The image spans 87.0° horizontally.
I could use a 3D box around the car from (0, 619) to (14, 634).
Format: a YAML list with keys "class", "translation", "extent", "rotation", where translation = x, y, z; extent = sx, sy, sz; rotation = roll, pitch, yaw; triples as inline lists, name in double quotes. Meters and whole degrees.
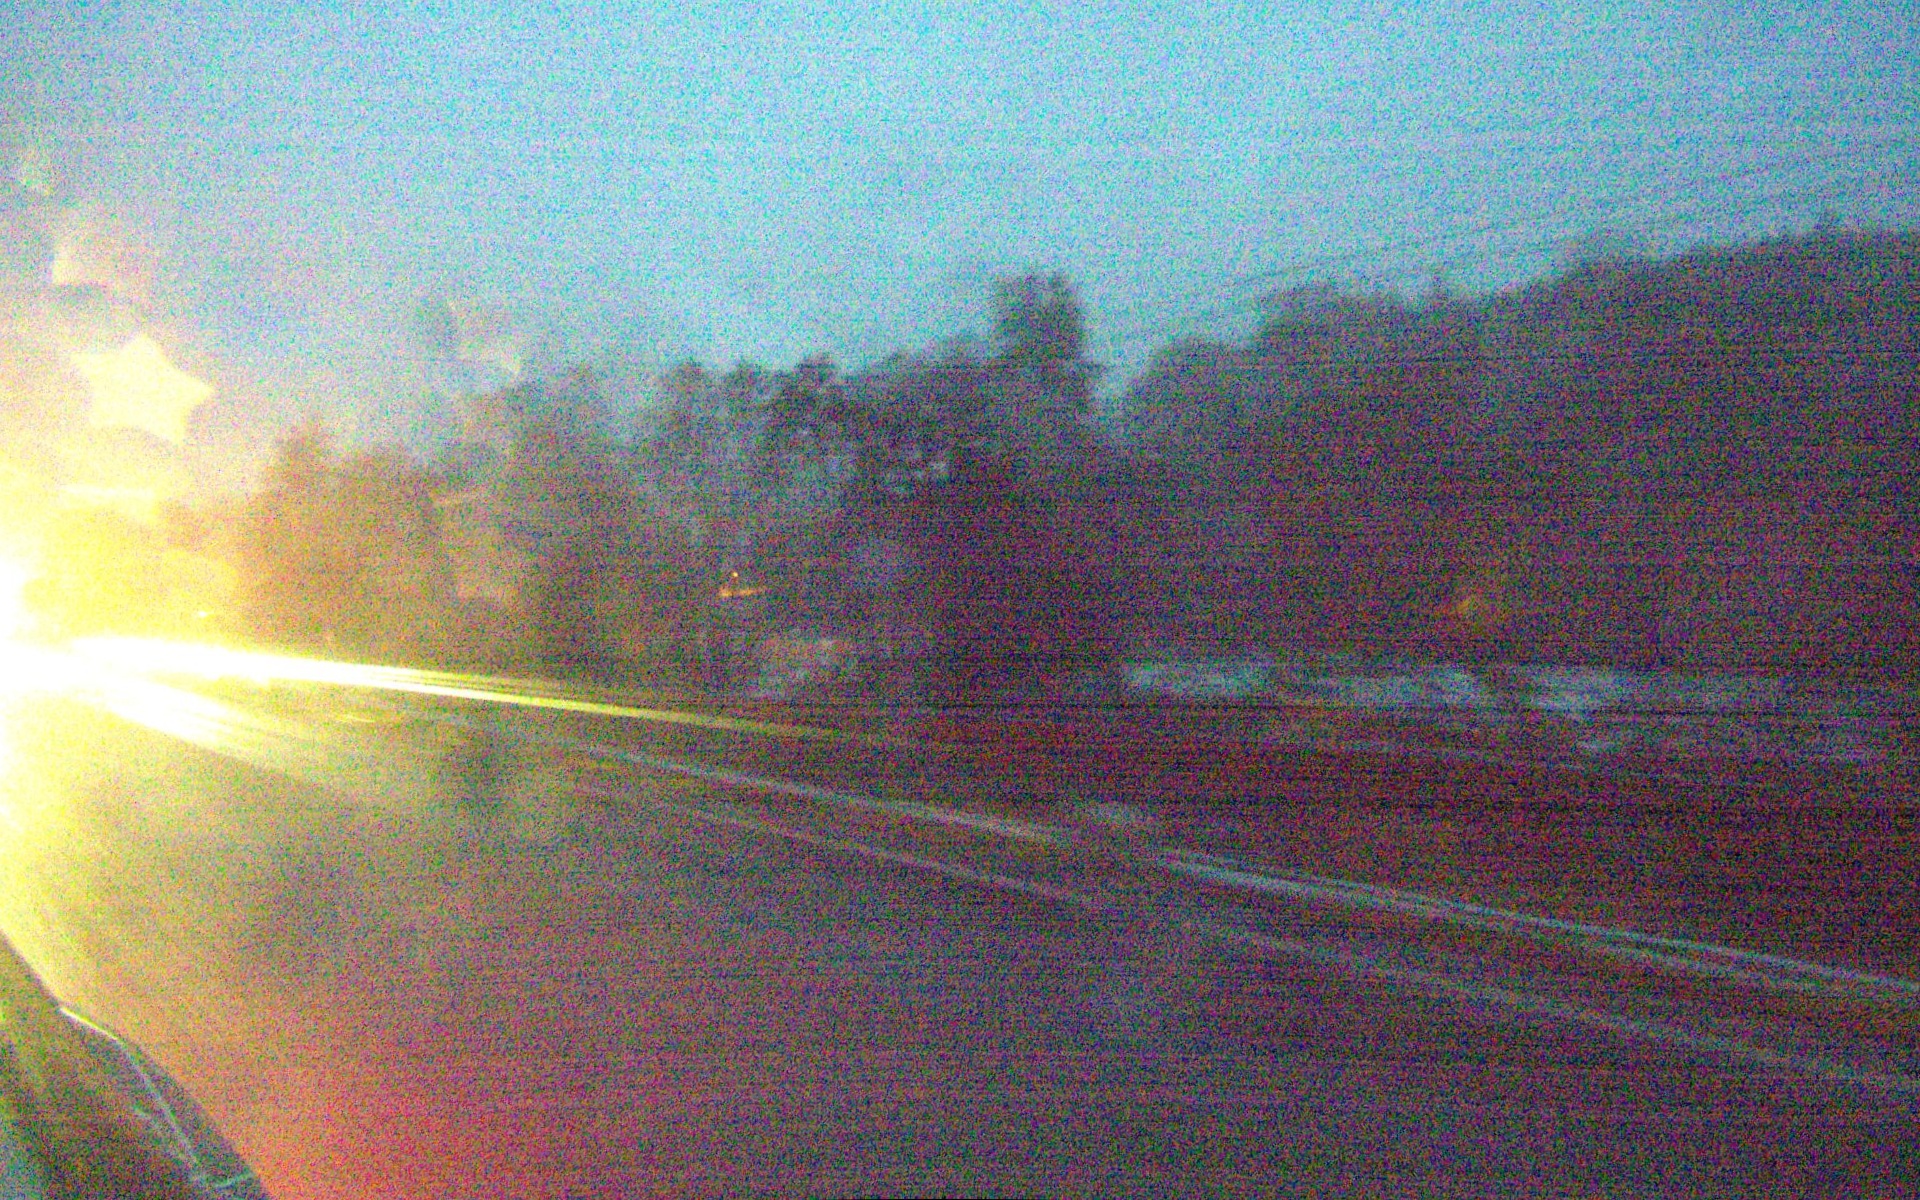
- class: "car"
  translation: [-103.768, 2.929, 109.552]
  extent: [4.443, 1.566, 1.809]
  rotation: [-2, 0, 45]
